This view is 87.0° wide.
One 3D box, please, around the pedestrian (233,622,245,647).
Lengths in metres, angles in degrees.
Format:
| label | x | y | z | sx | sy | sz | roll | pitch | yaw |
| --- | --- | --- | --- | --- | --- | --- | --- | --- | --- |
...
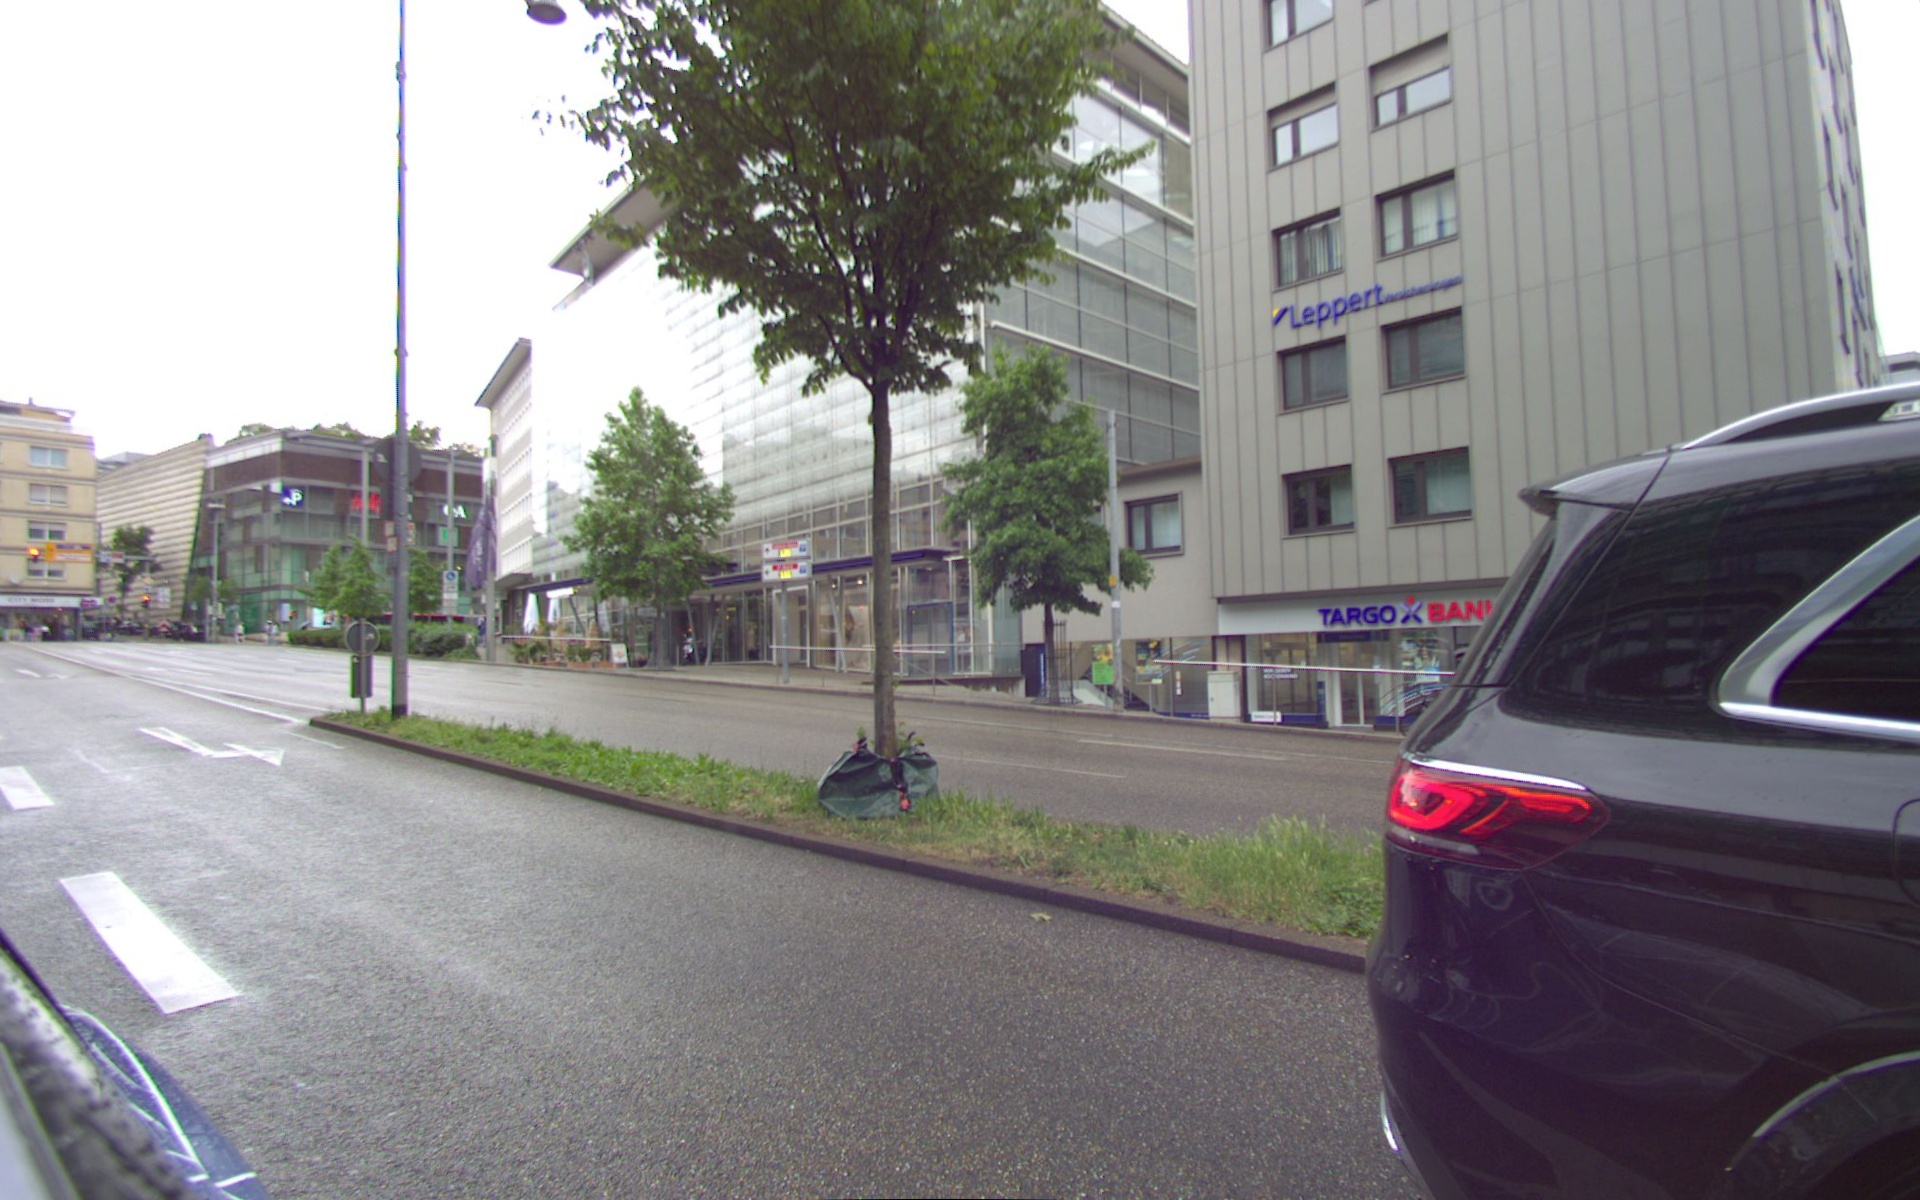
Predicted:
| label | x | y | z | sx | sy | sz | roll | pitch | yaw |
| --- | --- | --- | --- | --- | --- | --- | --- | --- | --- |
| pedestrian | -52.067 | 2.501 | 73.108 | 0.617 | 1.788 | 0.689 | 0 | 0 | -43 |

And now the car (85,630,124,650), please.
| label | x | y | z | sx | sy | sz | roll | pitch | yaw |
| --- | --- | --- | --- | --- | --- | --- | --- | --- | --- |
| car | -90.308 | 4.210 | 106.818 | 4.575 | 2.029 | 1.977 | 0 | -2 | 34 |

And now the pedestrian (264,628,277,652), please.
| label | x | y | z | sx | sy | sz | roll | pitch | yaw |
| --- | --- | --- | --- | --- | --- | --- | --- | --- | --- |
| pedestrian | -48.199 | 2.788 | 70.752 | 0.603 | 1.642 | 0.625 | -1 | -3 | 44 |

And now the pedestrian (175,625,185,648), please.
| label | x | y | z | sx | sy | sz | roll | pitch | yaw |
| --- | --- | --- | --- | --- | --- | --- | --- | --- | --- |
| pedestrian | -55.274 | 2.567 | 71.700 | 0.602 | 1.642 | 0.422 | -1 | -3 | 44 |

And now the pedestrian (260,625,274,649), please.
| label | x | y | z | sx | sy | sz | roll | pitch | yaw |
| --- | --- | --- | --- | --- | --- | --- | --- | --- | --- |
| pedestrian | -48.961 | 2.622 | 71.465 | 0.602 | 1.642 | 0.625 | -1 | -3 | 42 |

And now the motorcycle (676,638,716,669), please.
| label | x | y | z | sx | sy | sz | roll | pitch | yaw |
| --- | --- | --- | --- | --- | --- | --- | --- | --- | --- |
| motorcycle | -11.995 | 2.422 | 45.969 | 0.620 | 1.336 | 1.685 | -1 | -3 | 41 |

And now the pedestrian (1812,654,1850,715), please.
| label | x | y | z | sx | sy | sz | roll | pitch | yaw |
| --- | --- | --- | --- | --- | --- | --- | --- | --- | --- |
| pedestrian | 25.091 | 2.410 | 29.168 | 0.724 | 1.710 | 0.781 | 0 | -3 | 34 |

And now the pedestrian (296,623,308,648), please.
| label | x | y | z | sx | sy | sz | roll | pitch | yaw |
| --- | --- | --- | --- | --- | --- | --- | --- | --- | --- |
| pedestrian | -48.785 | 2.645 | 75.021 | 0.618 | 1.788 | 0.689 | 0 | 0 | -45 |

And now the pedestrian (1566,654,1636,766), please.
| label | x | y | z | sx | sy | sz | roll | pitch | yaw |
| --- | --- | --- | --- | --- | --- | --- | --- | --- | --- |
| pedestrian | 10.113 | 1.703 | 15.959 | 0.626 | 1.649 | 0.791 | 0 | 0 | -41 |

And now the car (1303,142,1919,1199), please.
| label | x | y | z | sx | sy | sz | roll | pitch | yaw |
| --- | --- | --- | --- | --- | --- | --- | --- | --- | --- |
| car | 3.117 | 0.383 | 0.808 | 5.069 | 1.884 | 1.892 | 0 | 0 | 40 |

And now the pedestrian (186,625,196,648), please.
| label | x | y | z | sx | sy | sz | roll | pitch | yaw |
| --- | --- | --- | --- | --- | --- | --- | --- | --- | --- |
| pedestrian | -53.206 | 2.525 | 70.057 | 0.603 | 1.642 | 0.422 | -1 | -3 | 45 |
